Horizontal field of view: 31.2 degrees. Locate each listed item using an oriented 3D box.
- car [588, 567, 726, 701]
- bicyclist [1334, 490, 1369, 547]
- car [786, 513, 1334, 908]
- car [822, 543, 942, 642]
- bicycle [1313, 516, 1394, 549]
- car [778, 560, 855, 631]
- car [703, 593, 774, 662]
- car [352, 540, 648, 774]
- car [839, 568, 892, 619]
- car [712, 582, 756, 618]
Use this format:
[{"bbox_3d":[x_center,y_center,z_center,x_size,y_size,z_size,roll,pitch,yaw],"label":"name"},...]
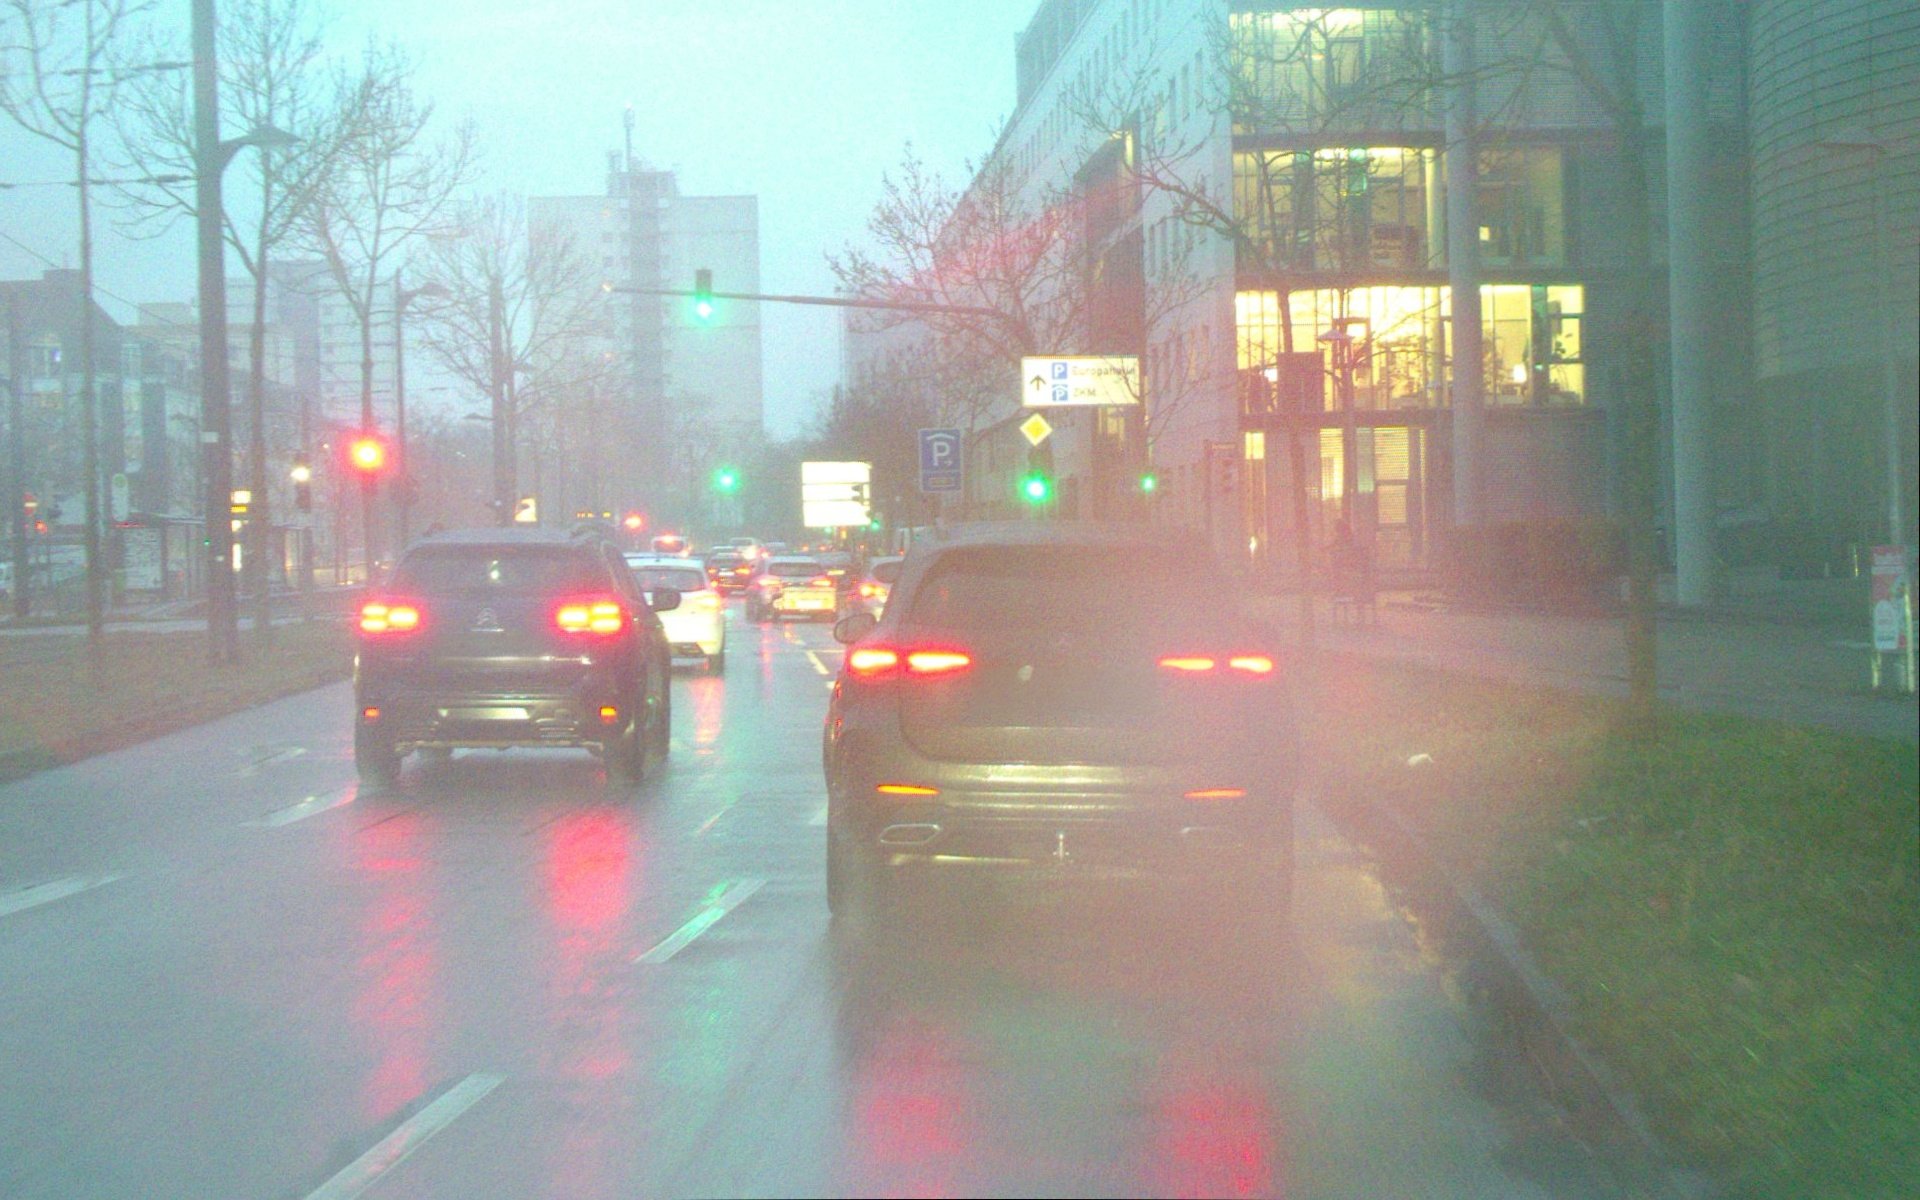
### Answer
[{"bbox_3d":[-3.883,0.402,44.421,1.689,1.630,3.474,1,1,-4],"label":"car"},{"bbox_3d":[9.097,-1.896,79.957,0.622,1.325,0.565,1,1,29],"label":"bicyclist"},{"bbox_3d":[0.290,0.402,14.838,1.993,1.478,3.700,1,1,-4],"label":"car"},{"bbox_3d":[-1.256,-0.143,55.852,1.867,1.537,3.611,1,1,-1],"label":"car"},{"bbox_3d":[9.144,-1.578,79.918,1.731,0.743,0.650,1,1,30],"label":"bicycle"},{"bbox_3d":[-3.160,-0.109,75.229,1.623,1.493,3.527,1,1,-3],"label":"car"},{"bbox_3d":[-5.225,0.632,81.011,1.614,1.516,3.409,1,1,-4],"label":"car"},{"bbox_3d":[-3.066,0.329,23.450,1.817,1.445,4.001,1,1,-6],"label":"car"},{"bbox_3d":[-2.998,-0.226,109.684,1.615,1.566,3.351,1,1,-1],"label":"car"},{"bbox_3d":[-7.979,-0.009,121.620,1.381,1.243,2.757,1,1,-1],"label":"car"}]
